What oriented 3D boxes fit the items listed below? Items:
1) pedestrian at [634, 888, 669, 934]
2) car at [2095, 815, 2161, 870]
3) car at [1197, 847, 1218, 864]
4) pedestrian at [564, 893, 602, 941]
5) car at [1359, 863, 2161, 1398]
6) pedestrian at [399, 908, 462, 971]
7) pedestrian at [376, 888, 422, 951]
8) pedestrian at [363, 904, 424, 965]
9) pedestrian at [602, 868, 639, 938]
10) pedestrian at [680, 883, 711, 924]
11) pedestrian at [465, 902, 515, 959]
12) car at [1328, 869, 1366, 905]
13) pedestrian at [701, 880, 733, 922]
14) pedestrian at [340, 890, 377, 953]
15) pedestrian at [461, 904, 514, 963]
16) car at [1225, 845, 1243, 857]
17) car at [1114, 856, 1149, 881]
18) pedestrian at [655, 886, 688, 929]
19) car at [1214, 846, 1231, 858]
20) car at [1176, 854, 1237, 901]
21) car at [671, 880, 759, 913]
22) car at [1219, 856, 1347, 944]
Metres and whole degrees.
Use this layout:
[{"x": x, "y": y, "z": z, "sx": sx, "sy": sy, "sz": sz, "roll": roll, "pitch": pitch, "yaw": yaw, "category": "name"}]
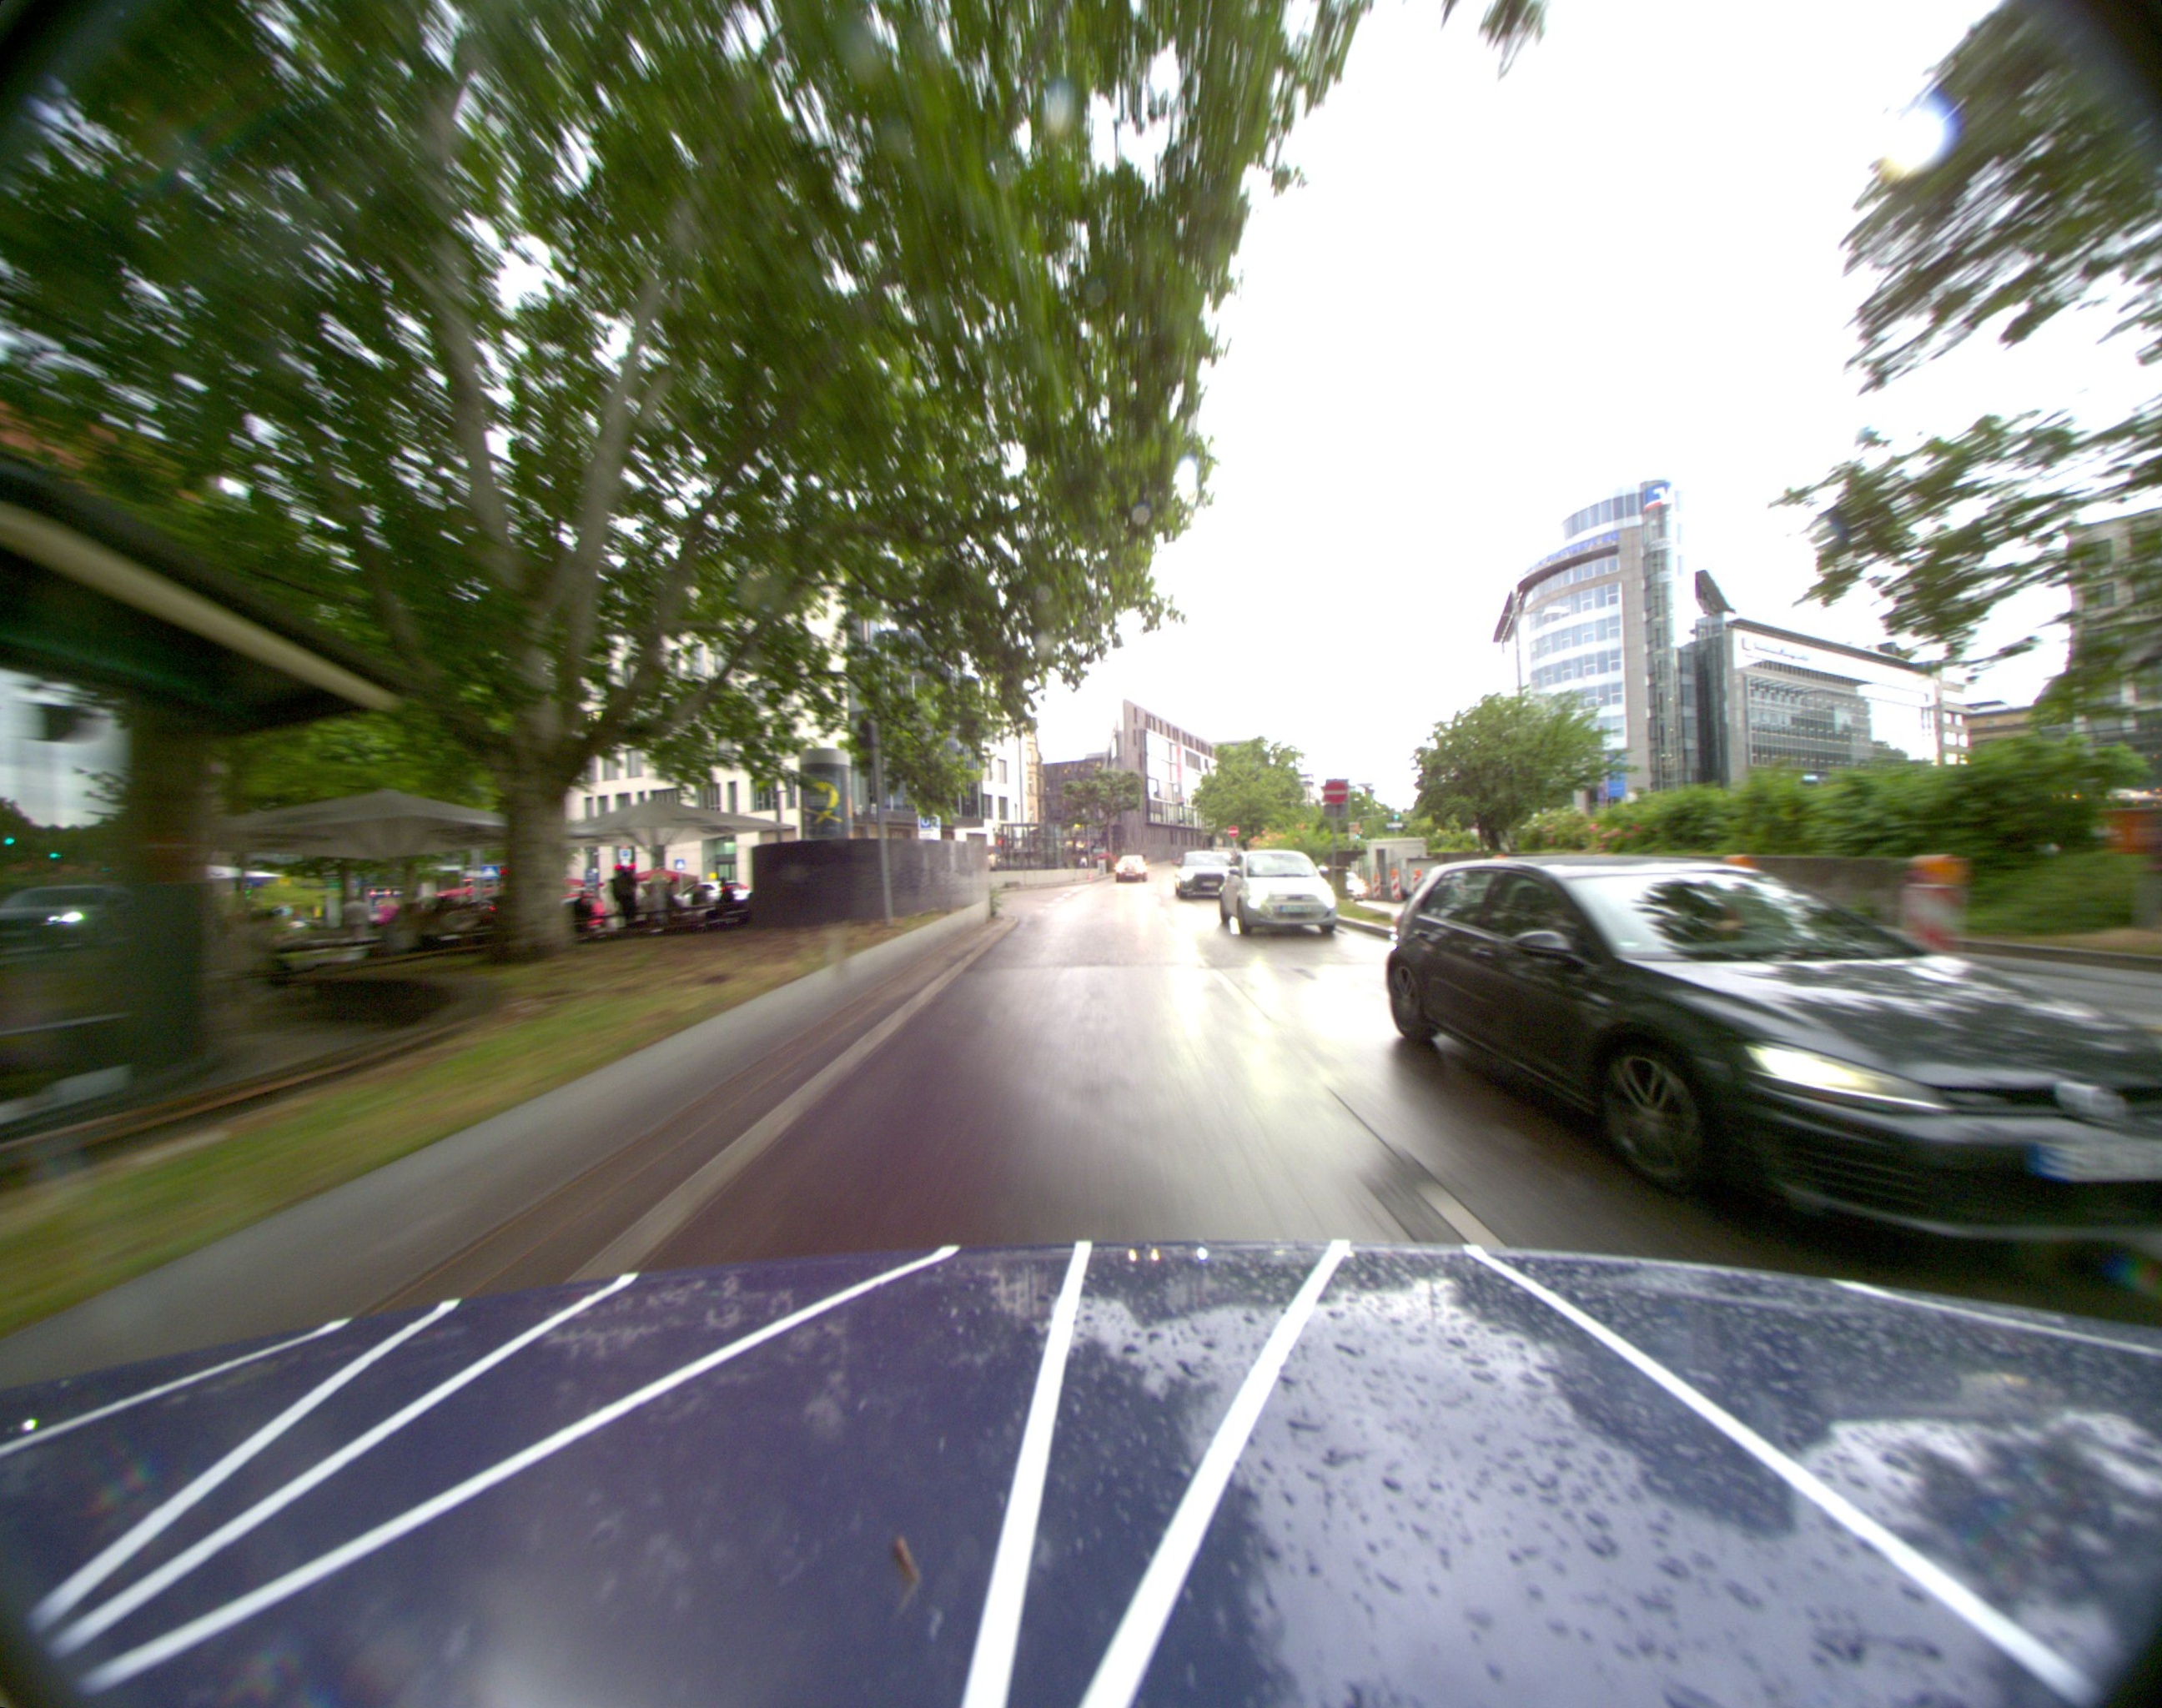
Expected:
[{"x": -8.784, "y": 1.150, "z": 15.547, "sx": 0.575, "sy": 0.867, "sz": 0.741, "roll": -2, "pitch": 1, "yaw": -30, "category": "pedestrian"}, {"x": 31.560, "y": -0.331, "z": 20.662, "sx": 2.010, "sy": 1.525, "sz": 4.712, "roll": -2, "pitch": 1, "yaw": 7, "category": "car"}, {"x": 13.592, "y": 0.168, "z": 81.358, "sx": 1.997, "sy": 1.734, "sz": 3.913, "roll": -3, "pitch": 0, "yaw": 11, "category": "car"}, {"x": -9.882, "y": 1.243, "z": 15.096, "sx": 0.575, "sy": 0.867, "sz": 0.565, "roll": -2, "pitch": 1, "yaw": -30, "category": "pedestrian"}, {"x": 3.234, "y": 0.852, "z": 4.313, "sx": 1.789, "sy": 1.444, "sz": 4.123, "roll": -3, "pitch": 0, "yaw": 1, "category": "car"}, {"x": -9.964, "y": 1.298, "z": 11.656, "sx": 0.627, "sy": 0.867, "sz": 0.508, "roll": -2, "pitch": 1, "yaw": -30, "category": "pedestrian"}, {"x": -22.561, "y": 2.130, "z": 25.134, "sx": 0.944, "sy": 1.963, "sz": 0.997, "roll": -1, "pitch": 2, "yaw": 43, "category": "pedestrian"}, {"x": -10.676, "y": 1.235, "z": 11.809, "sx": 0.575, "sy": 0.867, "sz": 0.508, "roll": -2, "pitch": 1, "yaw": -30, "category": "pedestrian"}, {"x": -8.746, "y": 0.922, "z": 14.450, "sx": 0.531, "sy": 1.269, "sz": 0.403, "roll": -3, "pitch": 2, "yaw": -29, "category": "pedestrian"}, {"x": -8.815, "y": 1.125, "z": 17.377, "sx": 0.575, "sy": 0.867, "sz": 0.508, "roll": -2, "pitch": 1, "yaw": -30, "category": "pedestrian"}, {"x": -9.958, "y": 1.279, "z": 12.824, "sx": 0.575, "sy": 0.867, "sz": 0.508, "roll": -2, "pitch": 1, "yaw": -30, "category": "pedestrian"}, {"x": 14.299, "y": 1.736, "z": 40.831, "sx": 1.779, "sy": 1.587, "sz": 4.005, "roll": -2, "pitch": 1, "yaw": 19, "category": "car"}, {"x": -8.046, "y": 1.023, "z": 16.807, "sx": 0.575, "sy": 0.867, "sz": 0.508, "roll": -2, "pitch": 1, "yaw": -30, "category": "pedestrian"}, {"x": -23.529, "y": 2.172, "z": 24.745, "sx": 0.944, "sy": 1.963, "sz": 0.753, "roll": -1, "pitch": 2, "yaw": 43, "category": "pedestrian"}, {"x": -9.614, "y": 1.275, "z": 12.327, "sx": 0.575, "sy": 0.867, "sz": 0.508, "roll": -2, "pitch": 1, "yaw": -30, "category": "pedestrian"}, {"x": 24.425, "y": -0.452, "z": 121.120, "sx": 1.996, "sy": 1.734, "sz": 3.915, "roll": -3, "pitch": 0, "yaw": 21, "category": "car"}, {"x": 2.827, "y": 0.773, "z": 42.004, "sx": 1.715, "sy": 1.274, "sz": 3.495, "roll": -2, "pitch": 0, "yaw": 7, "category": "car"}, {"x": -8.875, "y": 1.140, "z": 16.458, "sx": 0.575, "sy": 0.867, "sz": 0.508, "roll": -2, "pitch": 1, "yaw": -30, "category": "pedestrian"}, {"x": 20.769, "y": -0.321, "z": 111.591, "sx": 1.996, "sy": 1.734, "sz": 3.914, "roll": -3, "pitch": 0, "yaw": 17, "category": "car"}, {"x": 4.226, "y": 0.748, "z": 25.940, "sx": 1.716, "sy": 1.433, "sz": 3.495, "roll": -1, "pitch": 0, "yaw": 4, "category": "car"}, {"x": -17.510, "y": 1.993, "z": 36.360, "sx": 3.878, "sy": 1.433, "sz": 1.655, "roll": -1, "pitch": 0, "yaw": 25, "category": "car"}, {"x": 3.703, "y": 0.776, "z": 14.504, "sx": 1.611, "sy": 1.433, "sz": 3.494, "roll": -1, "pitch": 0, "yaw": 2, "category": "car"}]
